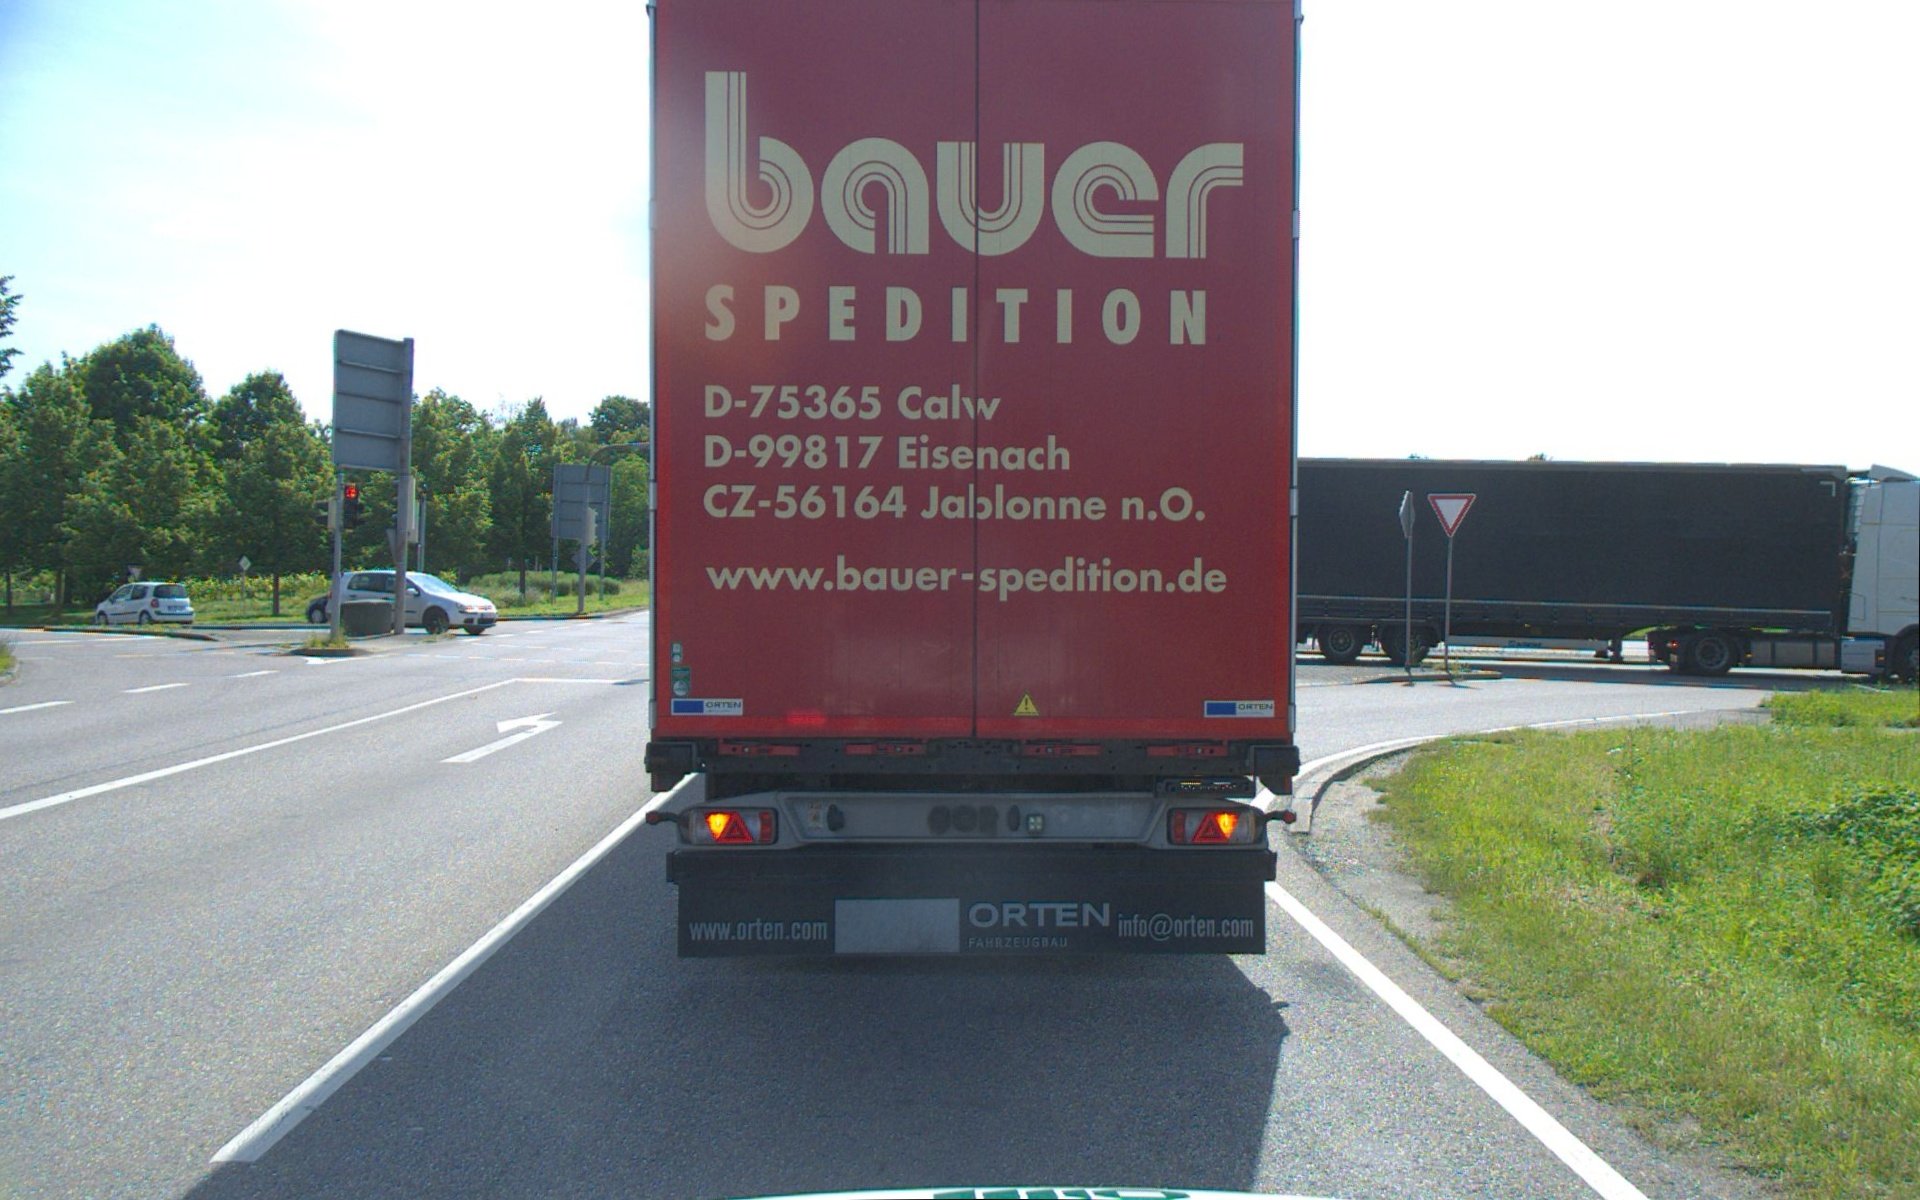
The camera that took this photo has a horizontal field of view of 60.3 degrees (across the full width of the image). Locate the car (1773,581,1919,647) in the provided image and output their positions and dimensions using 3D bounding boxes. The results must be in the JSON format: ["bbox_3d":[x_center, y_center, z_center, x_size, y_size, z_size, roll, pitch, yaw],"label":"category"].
[{"bbox_3d":[23.994,0.370,44.199,3.906,1.624,1.664,2,0,23],"label":"car"}]

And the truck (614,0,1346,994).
[{"bbox_3d":[-0.074,-0.633,14.445,2.679,3.993,16.622,1,1,-1],"label":"truck"}]

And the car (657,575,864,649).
[{"bbox_3d":[-4.388,0.239,36.579,4.157,1.486,1.811,1,1,17],"label":"car"}]

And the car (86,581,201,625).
[{"bbox_3d":[-28.188,0.104,57.095,3.774,1.380,1.674,2,1,28],"label":"car"}]

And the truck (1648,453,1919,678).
[{"bbox_3d":[16.774,-0.677,32.142,5.701,4.132,2.801,1,1,8],"label":"truck"}]

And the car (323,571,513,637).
[{"bbox_3d":[-12.842,0.066,39.234,3.949,1.441,1.796,1,1,15],"label":"car"}]

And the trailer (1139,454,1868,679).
[{"bbox_3d":[10.490,-0.774,33.374,13.392,4.132,2.801,1,1,12],"label":"trailer"}]
